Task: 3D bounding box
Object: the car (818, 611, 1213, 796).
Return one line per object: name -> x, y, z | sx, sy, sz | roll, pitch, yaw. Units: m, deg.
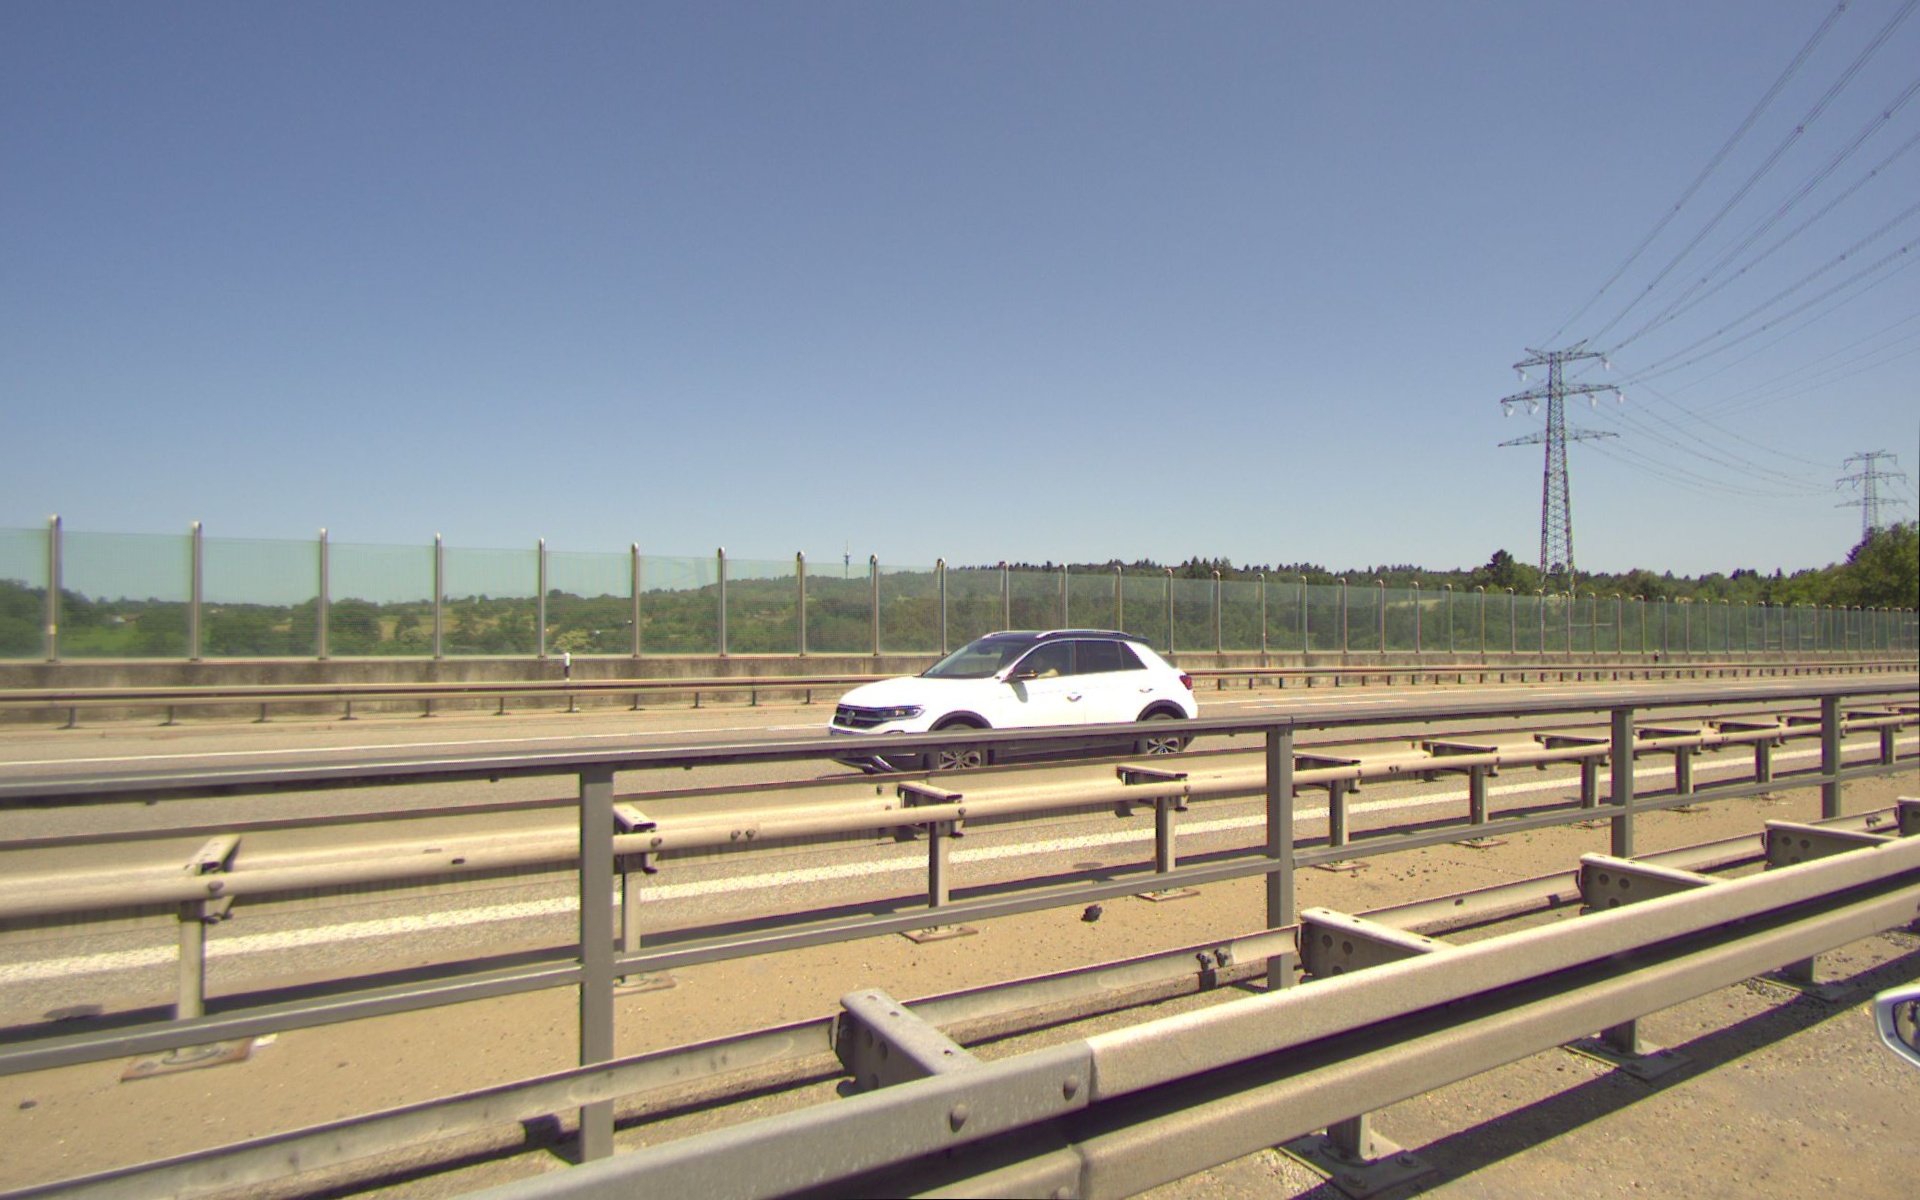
car -> 0.653, 1.032, 10.860 | 3.955, 1.661, 1.797 | 2, -3, -31
